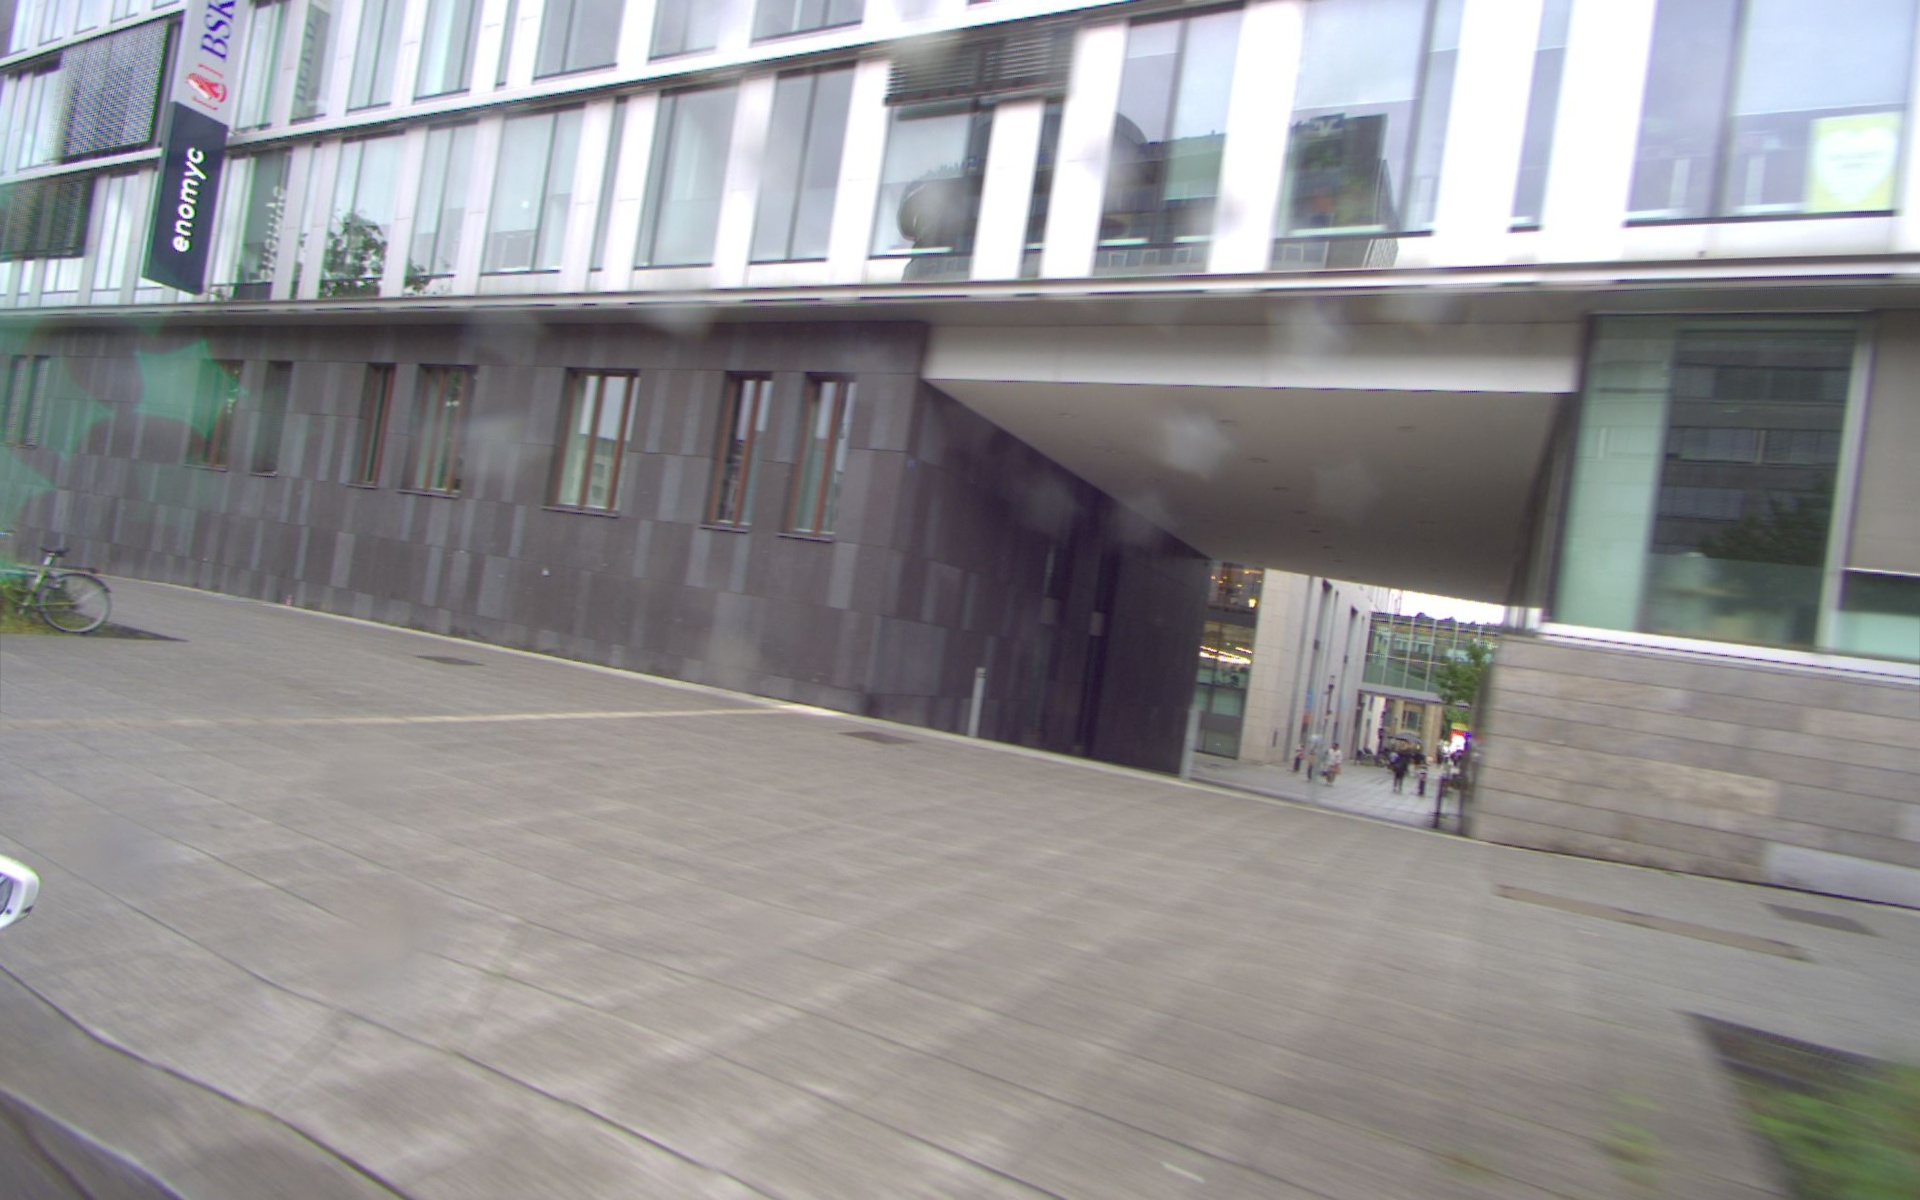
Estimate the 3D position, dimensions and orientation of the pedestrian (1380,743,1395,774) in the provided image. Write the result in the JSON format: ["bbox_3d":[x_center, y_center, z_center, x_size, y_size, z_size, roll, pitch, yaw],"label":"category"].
[{"bbox_3d":[27.823,10.319,65.512,0.689,1.843,0.593,7,-3,24],"label":"pedestrian"}]

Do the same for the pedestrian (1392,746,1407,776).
[{"bbox_3d":[28.531,10.422,65.256,0.689,1.843,0.593,7,-3,24],"label":"pedestrian"}]

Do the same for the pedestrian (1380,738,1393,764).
[{"bbox_3d":[32.130,11.364,75.741,0.689,1.795,0.593,7,-3,24],"label":"pedestrian"}]

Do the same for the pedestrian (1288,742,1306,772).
[{"bbox_3d":[14.905,6.938,44.480,0.556,1.256,0.463,7,-3,24],"label":"pedestrian"}]

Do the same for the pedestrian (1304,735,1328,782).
[{"bbox_3d":[14.359,6.384,40.556,0.689,1.795,0.593,7,-3,24],"label":"pedestrian"}]

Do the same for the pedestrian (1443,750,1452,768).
[{"bbox_3d":[48.897,15.974,100.887,0.638,1.679,0.651,7,-3,21],"label":"pedestrian"}]

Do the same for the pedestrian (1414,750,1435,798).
[{"bbox_3d":[19.673,7.368,42.577,0.557,1.935,0.661,6,-4,32],"label":"pedestrian"}]

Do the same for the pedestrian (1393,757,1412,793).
[{"bbox_3d":[19.051,7.532,43.298,0.557,1.432,0.462,6,-4,32],"label":"pedestrian"}]

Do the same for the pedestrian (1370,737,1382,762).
[{"bbox_3d":[31.474,11.298,76.123,0.689,1.795,0.593,7,-3,24],"label":"pedestrian"}]

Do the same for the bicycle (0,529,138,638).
[{"bbox_3d":[-10.365,-0.203,11.150,0.676,1.082,1.736,7,-2,22],"label":"bicycle"}]

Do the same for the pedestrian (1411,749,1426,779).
[{"bbox_3d":[29.556,10.571,64.827,0.689,1.795,0.593,7,-3,24],"label":"pedestrian"}]

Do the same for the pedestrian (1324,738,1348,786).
[{"bbox_3d":[15.040,6.451,40.226,0.689,1.795,0.593,7,-3,24],"label":"pedestrian"}]

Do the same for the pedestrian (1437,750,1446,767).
[{"bbox_3d":[50.124,16.516,104.661,0.638,1.679,0.651,7,-3,21],"label":"pedestrian"}]
